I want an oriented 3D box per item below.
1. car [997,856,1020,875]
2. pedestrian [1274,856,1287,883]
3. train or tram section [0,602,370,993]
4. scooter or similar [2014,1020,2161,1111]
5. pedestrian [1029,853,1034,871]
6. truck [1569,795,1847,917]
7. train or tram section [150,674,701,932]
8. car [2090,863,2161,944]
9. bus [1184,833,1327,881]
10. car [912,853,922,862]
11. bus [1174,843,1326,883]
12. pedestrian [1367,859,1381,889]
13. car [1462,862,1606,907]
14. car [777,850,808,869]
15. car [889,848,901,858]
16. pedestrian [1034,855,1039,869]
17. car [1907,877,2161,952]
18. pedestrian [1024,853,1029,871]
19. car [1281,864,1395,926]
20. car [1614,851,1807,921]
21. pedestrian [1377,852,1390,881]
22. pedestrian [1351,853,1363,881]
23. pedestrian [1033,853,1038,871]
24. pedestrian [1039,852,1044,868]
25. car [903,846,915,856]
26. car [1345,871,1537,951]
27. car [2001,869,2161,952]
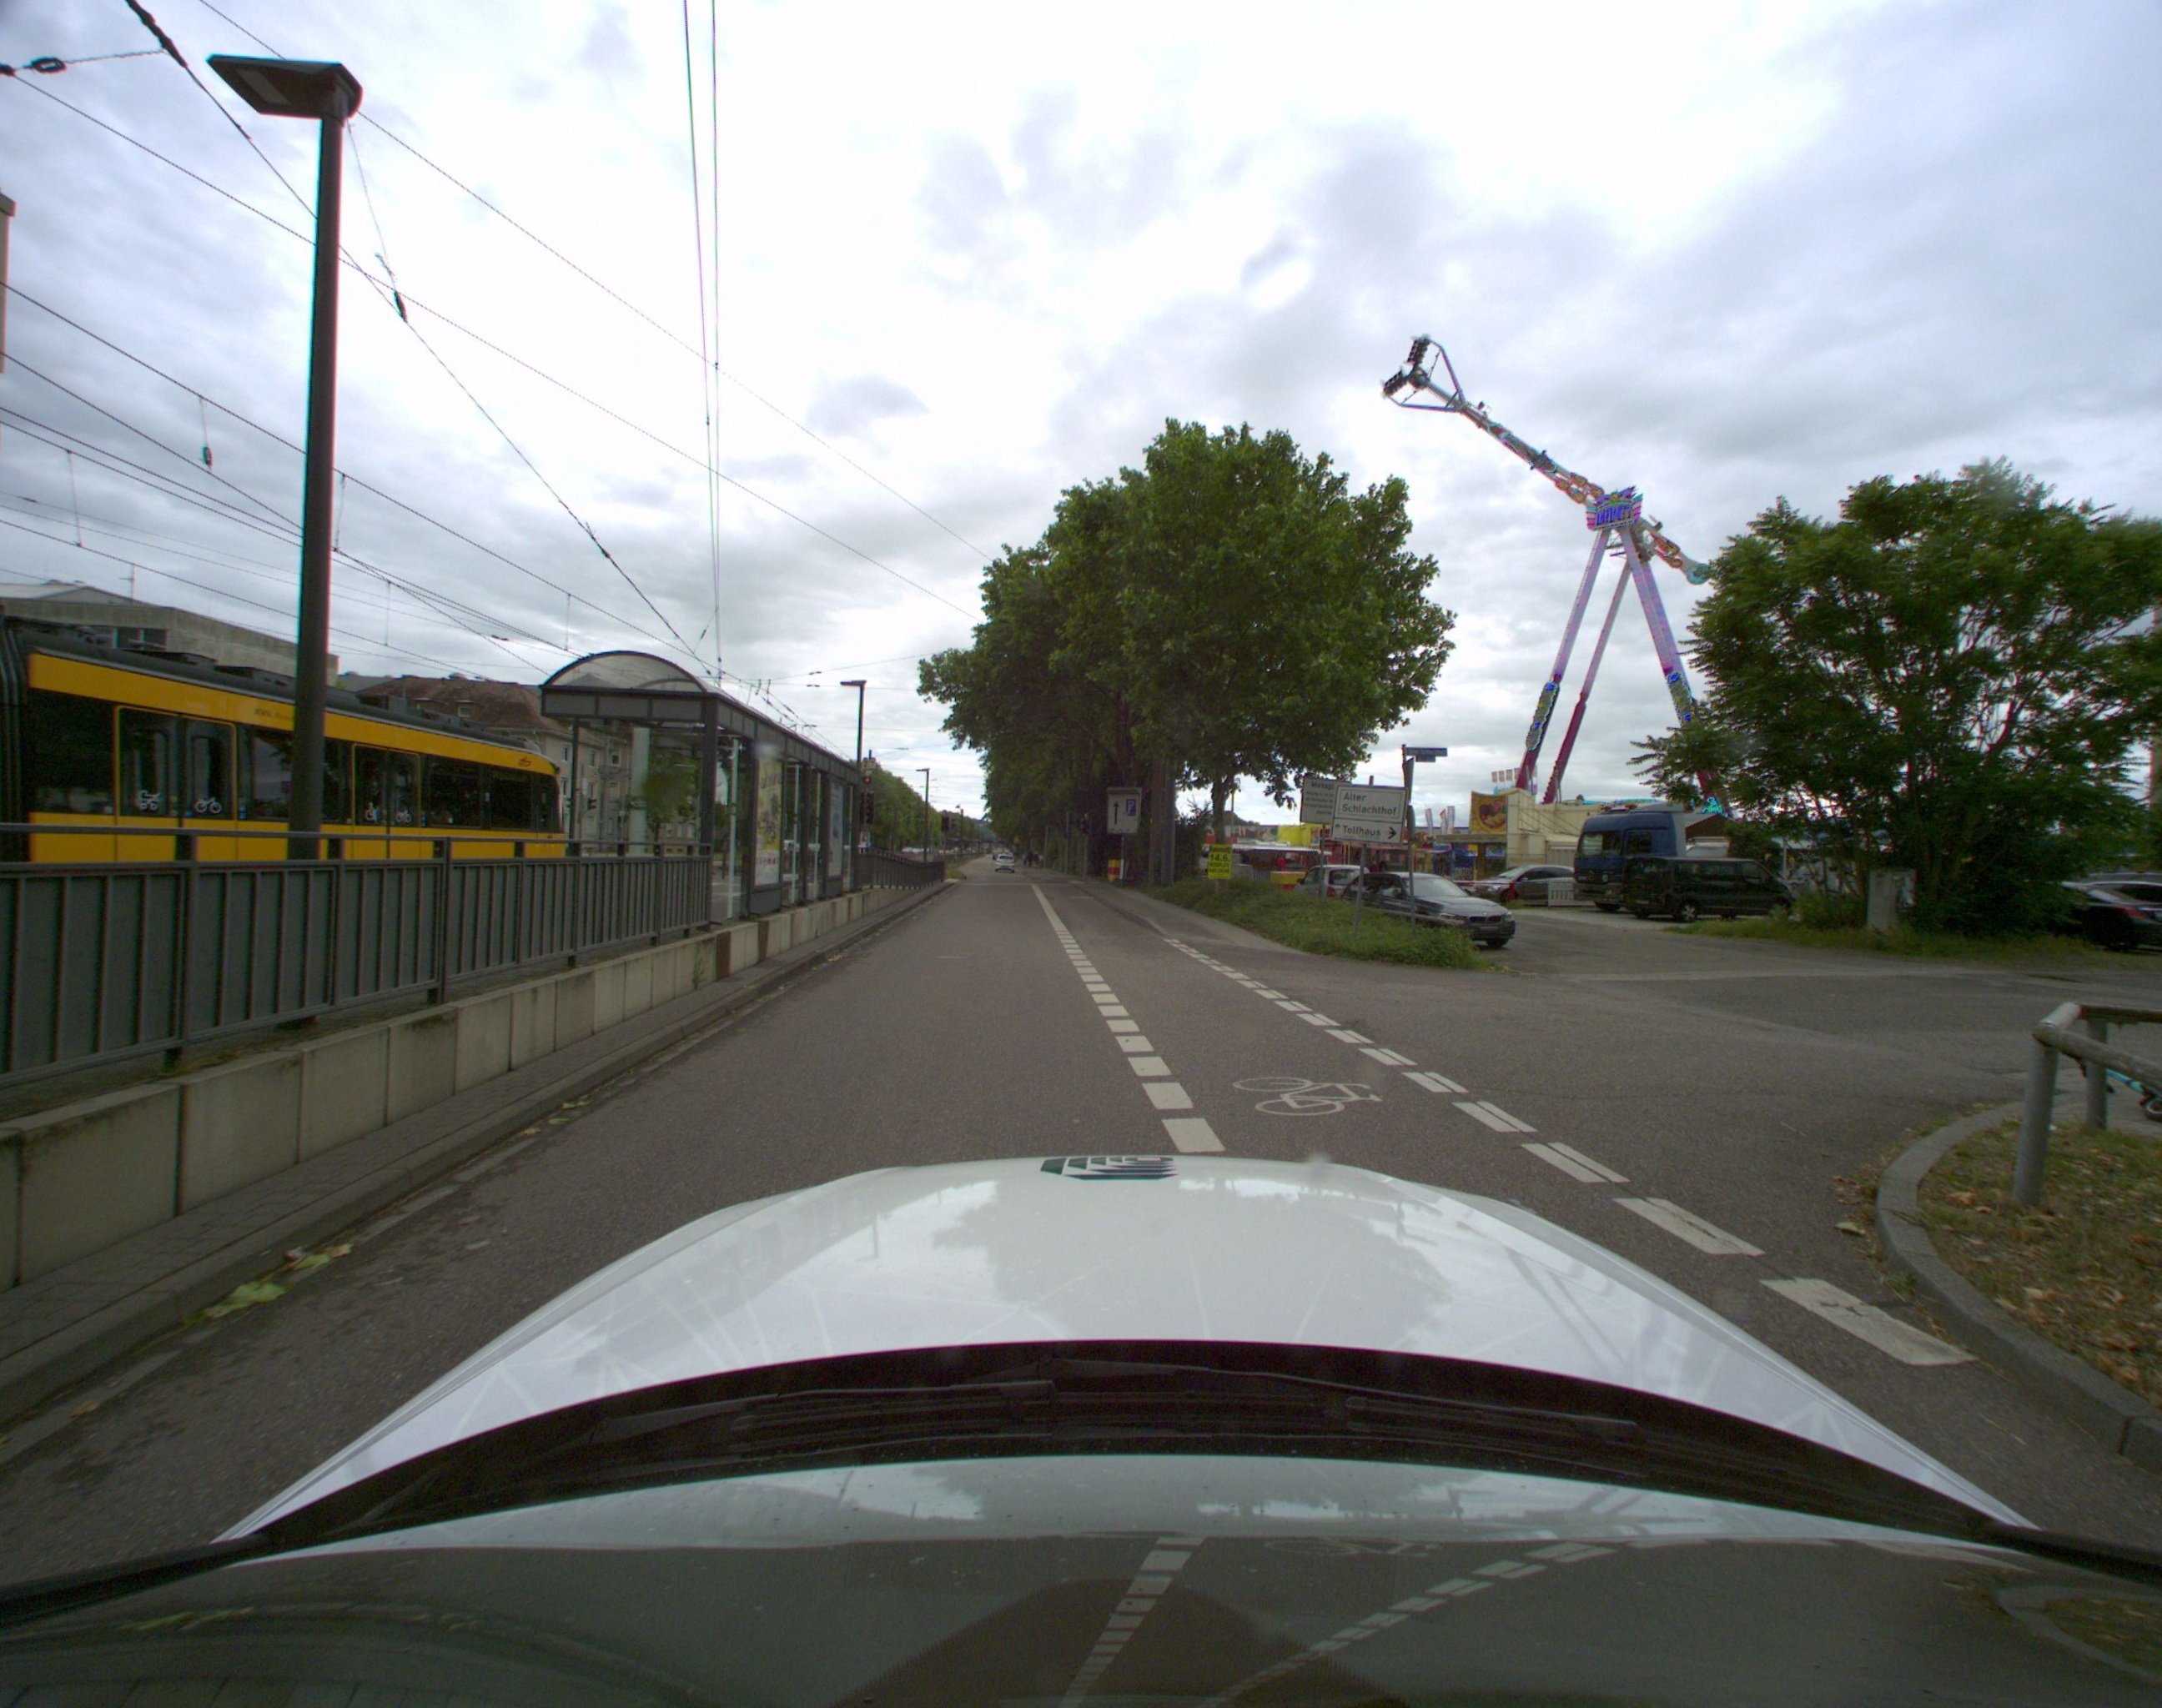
[{"bbox_3d":[-6.113,0.931,68.796,1.837,1.552,3.994,1,0,-4],"label":"car"},{"bbox_3d":[11.037,0.860,45.046,0.492,1.463,0.522,2,-1,-8],"label":"pedestrian"},{"bbox_3d":[-12.917,-0.649,6.144,3.175,4.179,14.706,1,-1,-5],"label":"train or tram section"},{"bbox_3d":[7.676,1.476,5.586,1.167,0.349,1.337,0,0,19],"label":"scooter or similar"},{"bbox_3d":[-5.590,0.871,91.830,0.393,2.014,0.404,1,-1,10],"label":"pedestrian"},{"bbox_3d":[21.531,0.122,28.147,8.183,3.822,2.593,1,-1,-7],"label":"truck"},{"bbox_3d":[-14.202,-0.775,20.812,3.175,4.179,14.706,1,-1,-5],"label":"train or tram section"},{"bbox_3d":[26.448,1.209,18.533,1.883,1.879,3.991,1,0,-7],"label":"car"},{"bbox_3d":[11.677,0.226,54.573,9.272,2.960,1.994,1,-1,-9],"label":"bus"},{"bbox_3d":[-35.936,0.763,178.865,1.993,1.794,3.987,2,-1,-9],"label":"car"},{"bbox_3d":[10.664,0.565,51.419,9.272,2.227,1.994,1,-1,-9],"label":"bus"},{"bbox_3d":[17.087,1.159,47.497,0.524,1.687,0.490,2,-1,-22],"label":"pedestrian"},{"bbox_3d":[17.415,1.158,31.418,4.569,1.575,1.995,1,-1,-7],"label":"car"},{"bbox_3d":[-27.818,0.535,78.613,1.993,1.794,3.987,2,-1,-9],"label":"car"},{"bbox_3d":[-35.555,-0.221,155.684,1.993,1.794,3.987,2,-1,-9],"label":"car"},{"bbox_3d":[-4.640,0.831,84.915,0.395,1.444,0.562,1,-1,-6],"label":"pedestrian"},{"bbox_3d":[21.628,1.302,18.293,1.884,1.349,3.990,4,-1,-7],"label":"car"},{"bbox_3d":[-6.140,0.853,91.715,0.393,2.014,0.404,1,-1,10],"label":"pedestrian"},{"bbox_3d":[7.321,1.106,23.643,1.859,1.594,3.995,1,-1,-3],"label":"car"},{"bbox_3d":[19.087,0.945,24.796,4.569,2.013,1.995,0,1,-7],"label":"car"},{"bbox_3d":[17.861,0.715,48.122,0.524,1.687,0.490,2,-1,-22],"label":"pedestrian"},{"bbox_3d":[17.045,0.781,50.214,0.492,1.687,0.522,2,-1,-8],"label":"pedestrian"},{"bbox_3d":[-5.117,0.883,91.776,0.393,2.014,0.404,1,-1,10],"label":"pedestrian"},{"bbox_3d":[-4.129,0.629,84.972,0.395,1.585,0.537,1,-1,-5],"label":"pedestrian"},{"bbox_3d":[-34.064,-0.561,161.426,1.993,1.794,3.987,2,-1,-9],"label":"car"},{"bbox_3d":[7.473,1.118,17.373,1.863,1.430,3.987,2,-1,-10],"label":"car"},{"bbox_3d":[24.010,1.286,18.334,1.884,1.644,3.990,2,1,-7],"label":"car"}]
